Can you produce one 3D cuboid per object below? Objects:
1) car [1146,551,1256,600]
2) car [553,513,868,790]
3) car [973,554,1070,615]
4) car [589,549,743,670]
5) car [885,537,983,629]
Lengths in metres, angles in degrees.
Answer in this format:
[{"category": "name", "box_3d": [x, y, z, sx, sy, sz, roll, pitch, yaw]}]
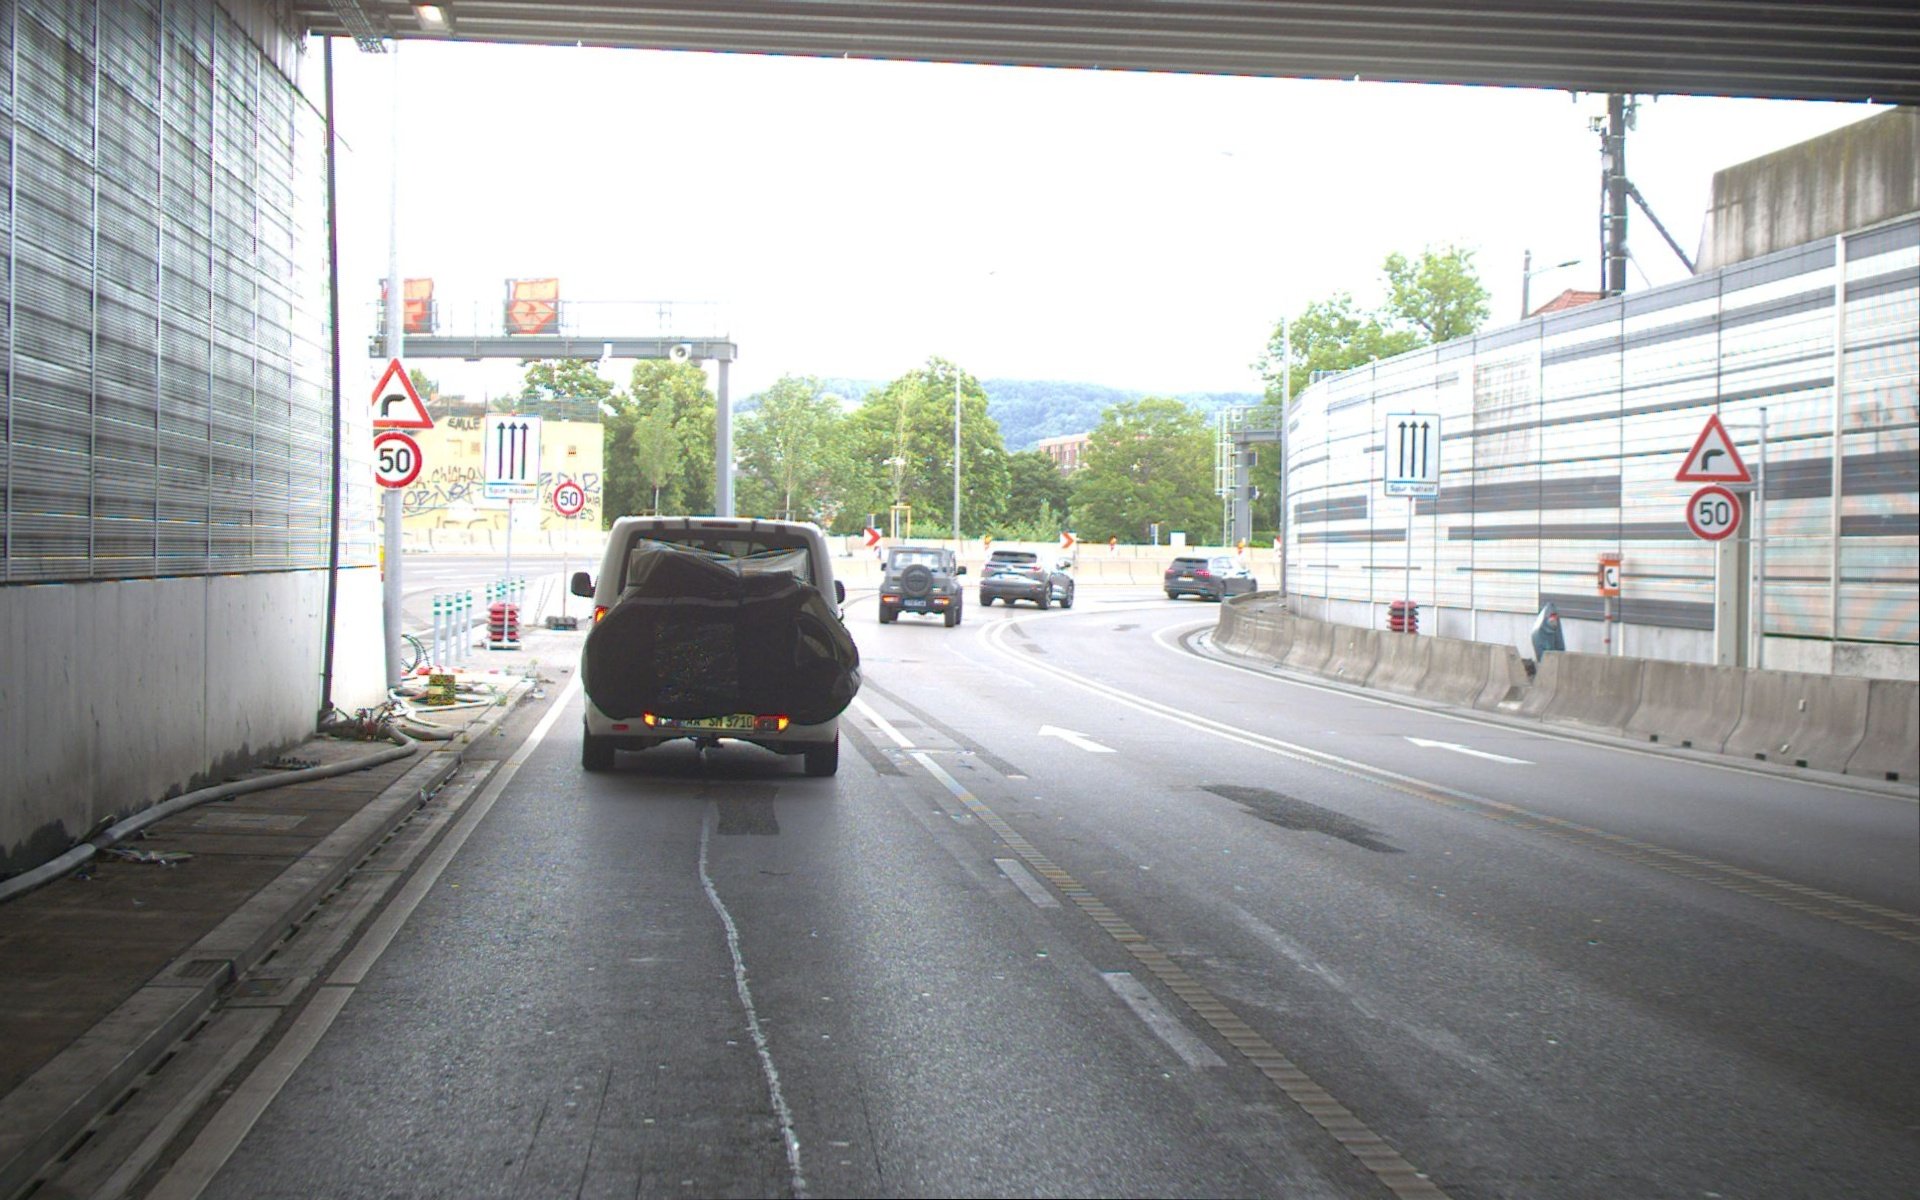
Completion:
[{"category": "car", "box_3d": [7.546, -0.768, 107.180, 1.996, 1.464, 3.994, 1, 1, 27]}, {"category": "car", "box_3d": [-2.010, 0.307, 26.033, 1.992, 1.853, 5.642, 0, 1, -8]}, {"category": "car", "box_3d": [1.669, -0.425, 91.660, 2.013, 1.483, 4.064, 2, 2, 9]}, {"category": "car", "box_3d": [-3.687, 0.085, 43.216, 1.814, 1.429, 4.066, 1, 1, -5]}, {"category": "car", "box_3d": [-0.590, -0.379, 74.226, 1.993, 1.853, 4.000, 2, 1, -1]}]
